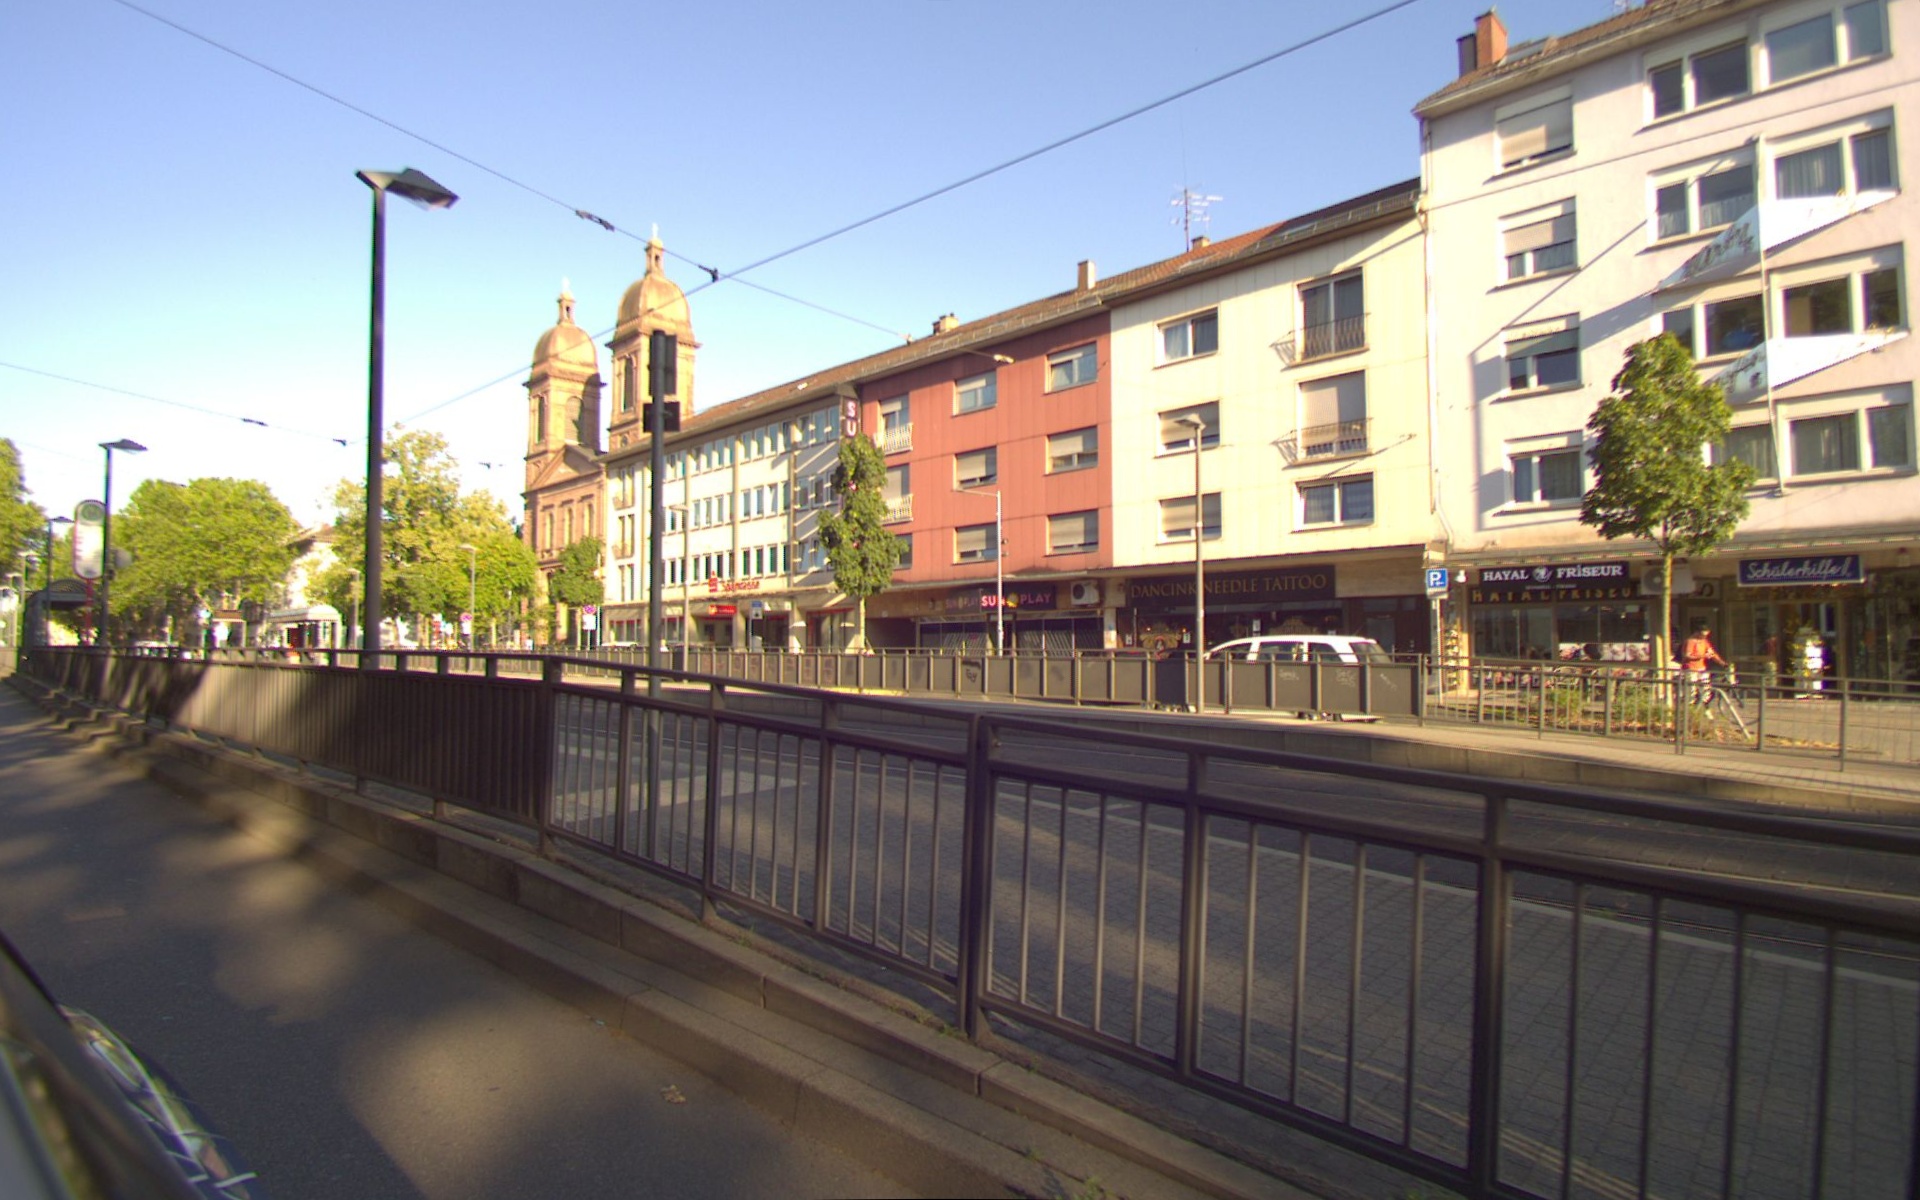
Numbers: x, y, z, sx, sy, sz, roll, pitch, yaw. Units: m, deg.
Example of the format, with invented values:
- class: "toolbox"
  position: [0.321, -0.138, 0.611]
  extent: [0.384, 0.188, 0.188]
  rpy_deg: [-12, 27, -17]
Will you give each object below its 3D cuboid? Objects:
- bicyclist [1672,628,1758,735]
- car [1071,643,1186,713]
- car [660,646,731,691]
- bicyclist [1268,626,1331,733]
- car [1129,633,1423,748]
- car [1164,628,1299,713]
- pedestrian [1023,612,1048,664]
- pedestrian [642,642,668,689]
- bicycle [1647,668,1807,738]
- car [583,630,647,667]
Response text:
- class: "bicyclist"
  position: [13.881, 1.485, 18.623]
  extent: [0.683, 1.901, 1.060]
  rpy_deg: [3, -5, -38]
- class: "car"
  position: [4.244, 1.933, 26.072]
  extent: [1.835, 1.502, 3.776]
  rpy_deg: [-1, 0, -8]
- class: "car"
  position: [-10.510, 2.696, 40.471]
  extent: [1.843, 1.541, 4.000]
  rpy_deg: [-1, -1, -1]
- class: "bicyclist"
  position: [6.632, 1.537, 19.754]
  extent: [0.911, 2.029, 0.755]
  rpy_deg: [-3, -4, 43]
- class: "car"
  position: [5.349, 1.478, 17.504]
  extent: [4.435, 1.730, 1.972]
  rpy_deg: [-3, -4, 43]
- class: "car"
  position: [6.577, 1.666, 24.979]
  extent: [1.835, 1.813, 3.776]
  rpy_deg: [-1, 0, -8]
- class: "pedestrian"
  position: [2.741, 1.385, 36.769]
  extent: [0.589, 1.863, 0.734]
  rpy_deg: [-2, -4, 38]
- class: "pedestrian"
  position: [-11.929, 2.558, 39.590]
  extent: [0.758, 1.801, 0.725]
  rpy_deg: [-1, -1, 1]
- class: "bicycle"
  position: [13.955, 1.839, 18.490]
  extent: [0.696, 1.168, 2.203]
  rpy_deg: [3, -4, -38]
- class: "car"
  position: [-15.477, 2.150, 45.587]
  extent: [1.718, 1.497, 4.003]
  rpy_deg: [-1, -1, -3]
